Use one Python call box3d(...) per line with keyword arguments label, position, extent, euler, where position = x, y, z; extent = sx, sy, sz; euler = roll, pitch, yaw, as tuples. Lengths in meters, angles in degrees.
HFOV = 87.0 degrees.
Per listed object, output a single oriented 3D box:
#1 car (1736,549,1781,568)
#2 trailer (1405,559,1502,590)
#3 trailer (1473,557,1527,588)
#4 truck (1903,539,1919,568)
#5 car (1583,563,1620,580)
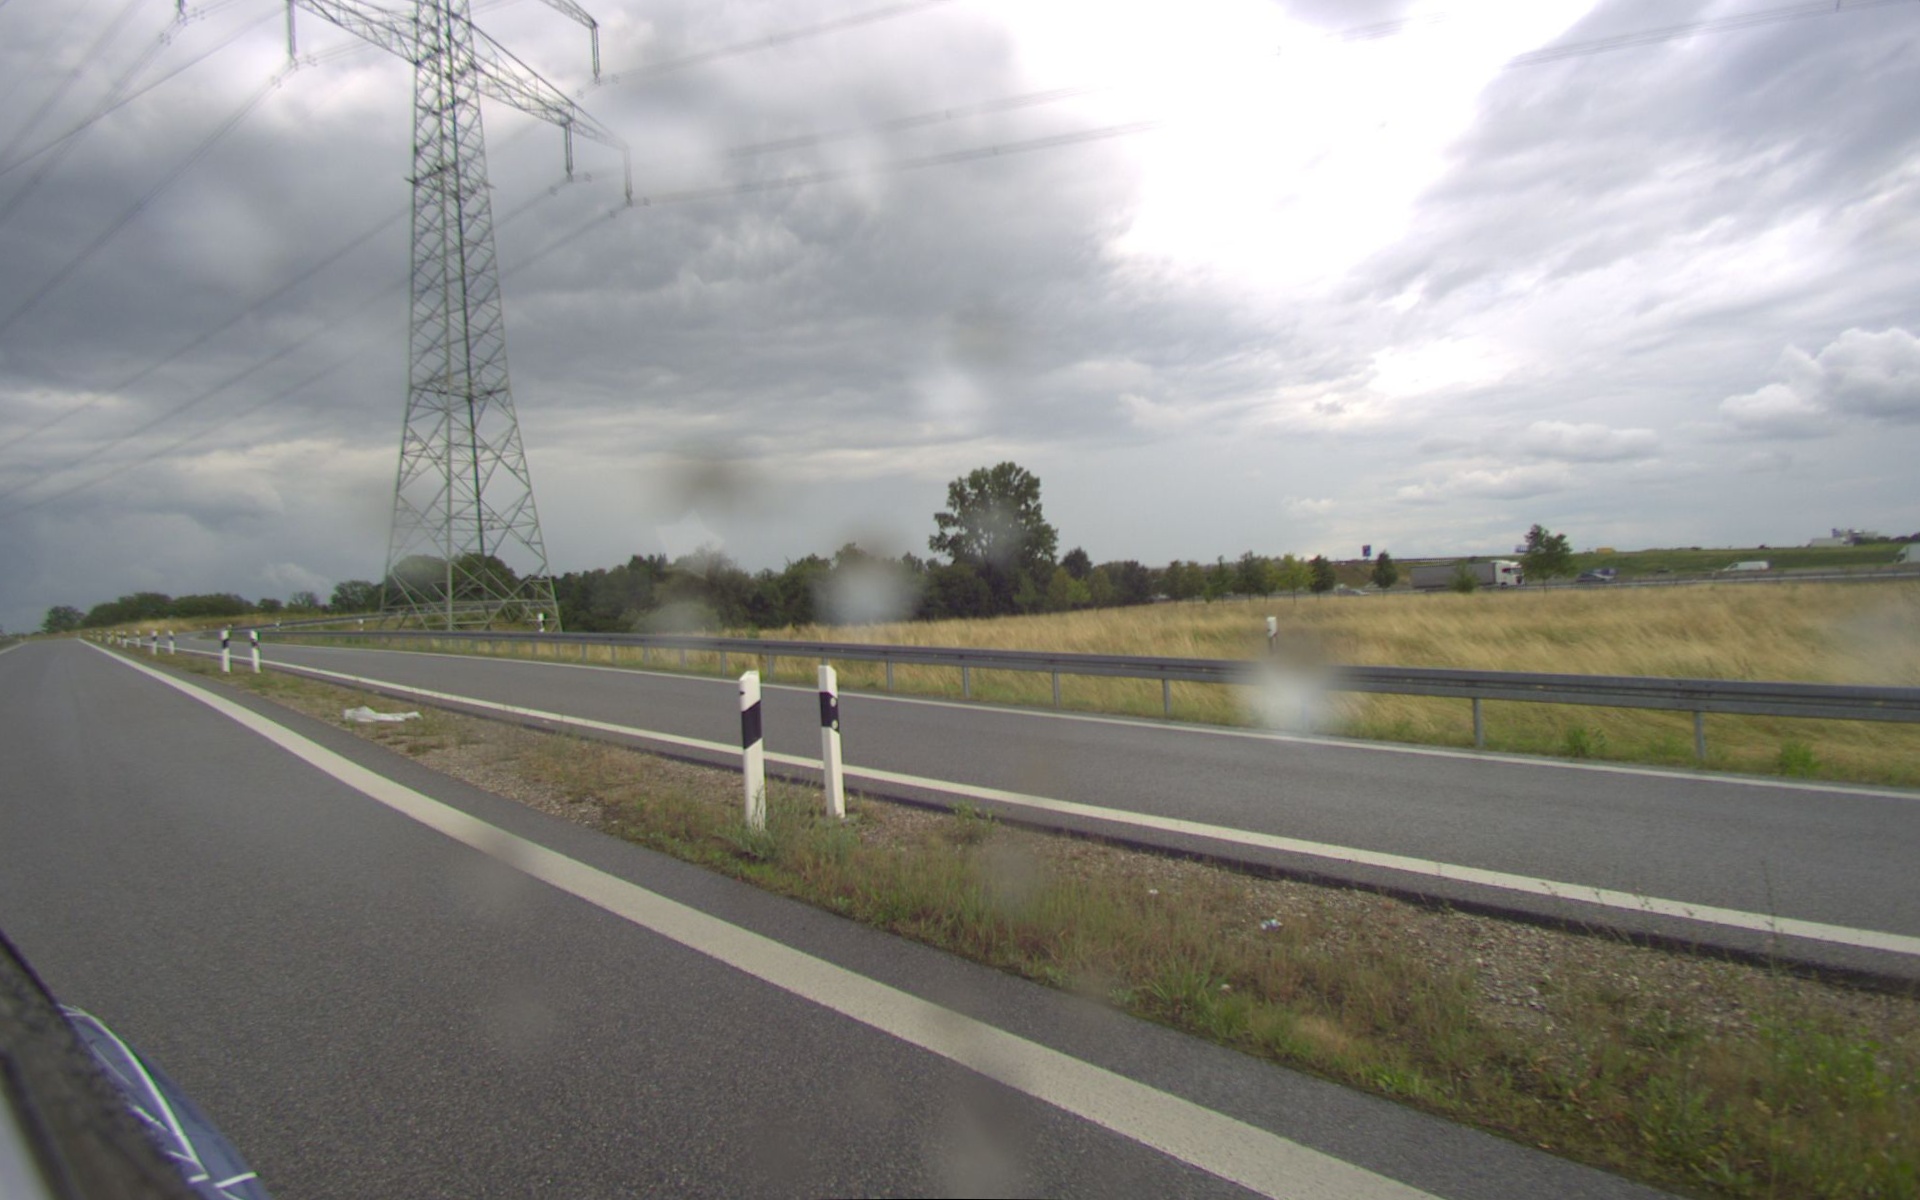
box3d(label="car", position=(104.545, -5.441, 132.560), extent=(1.966, 2.029, 4.013), euler=(-3, -2, -24))
box3d(label="trailer", position=(71.989, -3.598, 148.117), extent=(2.810, 3.810, 13.703), euler=(-3, 0, -27))
box3d(label="trailer", position=(75.396, -3.829, 141.442), extent=(2.800, 3.812, 5.916), euler=(-3, -1, -28))
box3d(label="truck", position=(121.404, -6.070, 124.679), extent=(1.966, 3.497, 7.131), euler=(-3, -2, -26))
box3d(label="car", position=(95.028, -4.187, 149.950), extent=(1.966, 2.029, 4.013), euler=(-3, -2, -24))
